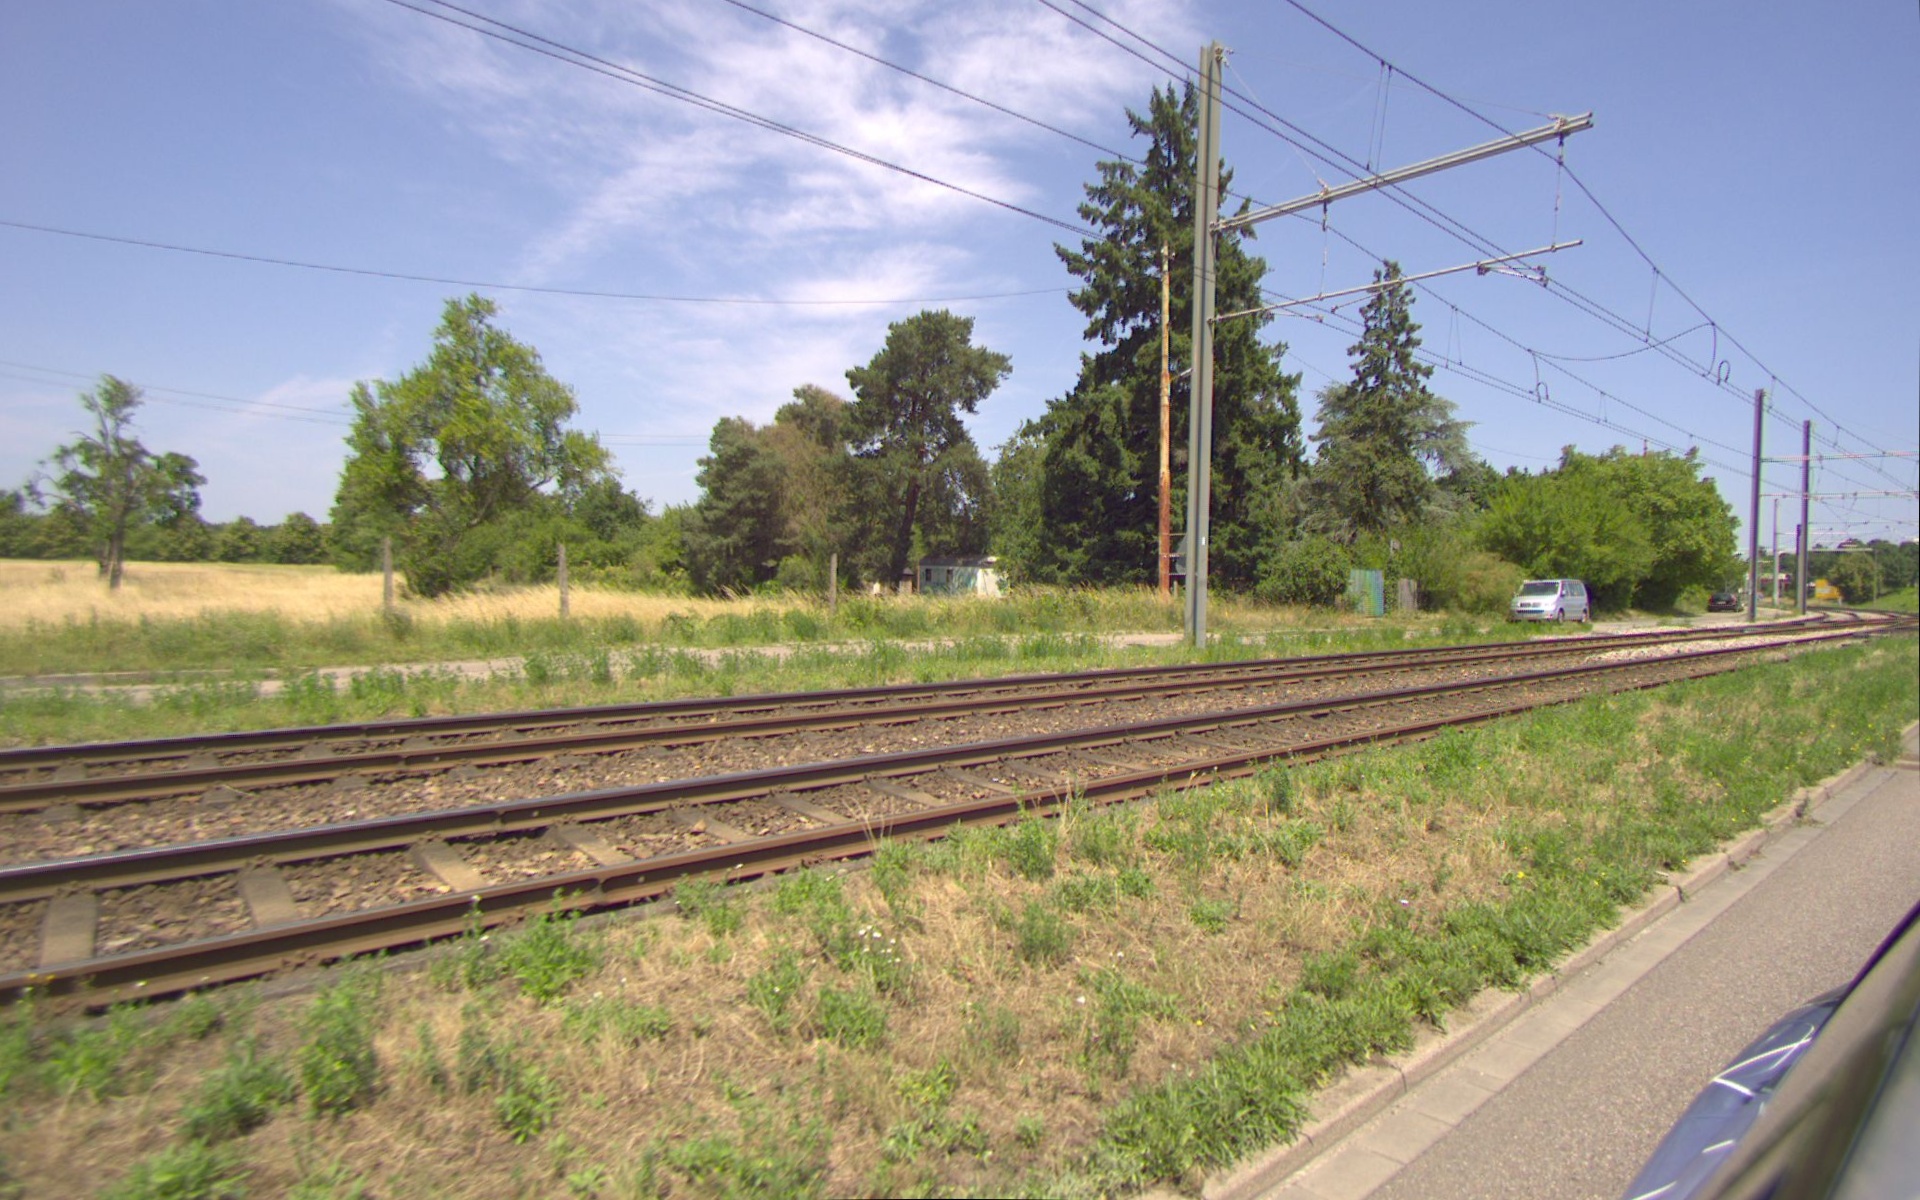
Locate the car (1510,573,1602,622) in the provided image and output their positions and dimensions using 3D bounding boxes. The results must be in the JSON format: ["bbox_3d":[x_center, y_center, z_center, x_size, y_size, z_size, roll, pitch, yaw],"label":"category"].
[{"bbox_3d":[25.277,-0.160,42.847,4.984,1.905,2.039,-2,3,-43],"label":"car"}]

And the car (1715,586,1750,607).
[{"bbox_3d":[58.878,-0.263,77.124,1.796,1.443,4.670,2,3,41],"label":"car"}]
